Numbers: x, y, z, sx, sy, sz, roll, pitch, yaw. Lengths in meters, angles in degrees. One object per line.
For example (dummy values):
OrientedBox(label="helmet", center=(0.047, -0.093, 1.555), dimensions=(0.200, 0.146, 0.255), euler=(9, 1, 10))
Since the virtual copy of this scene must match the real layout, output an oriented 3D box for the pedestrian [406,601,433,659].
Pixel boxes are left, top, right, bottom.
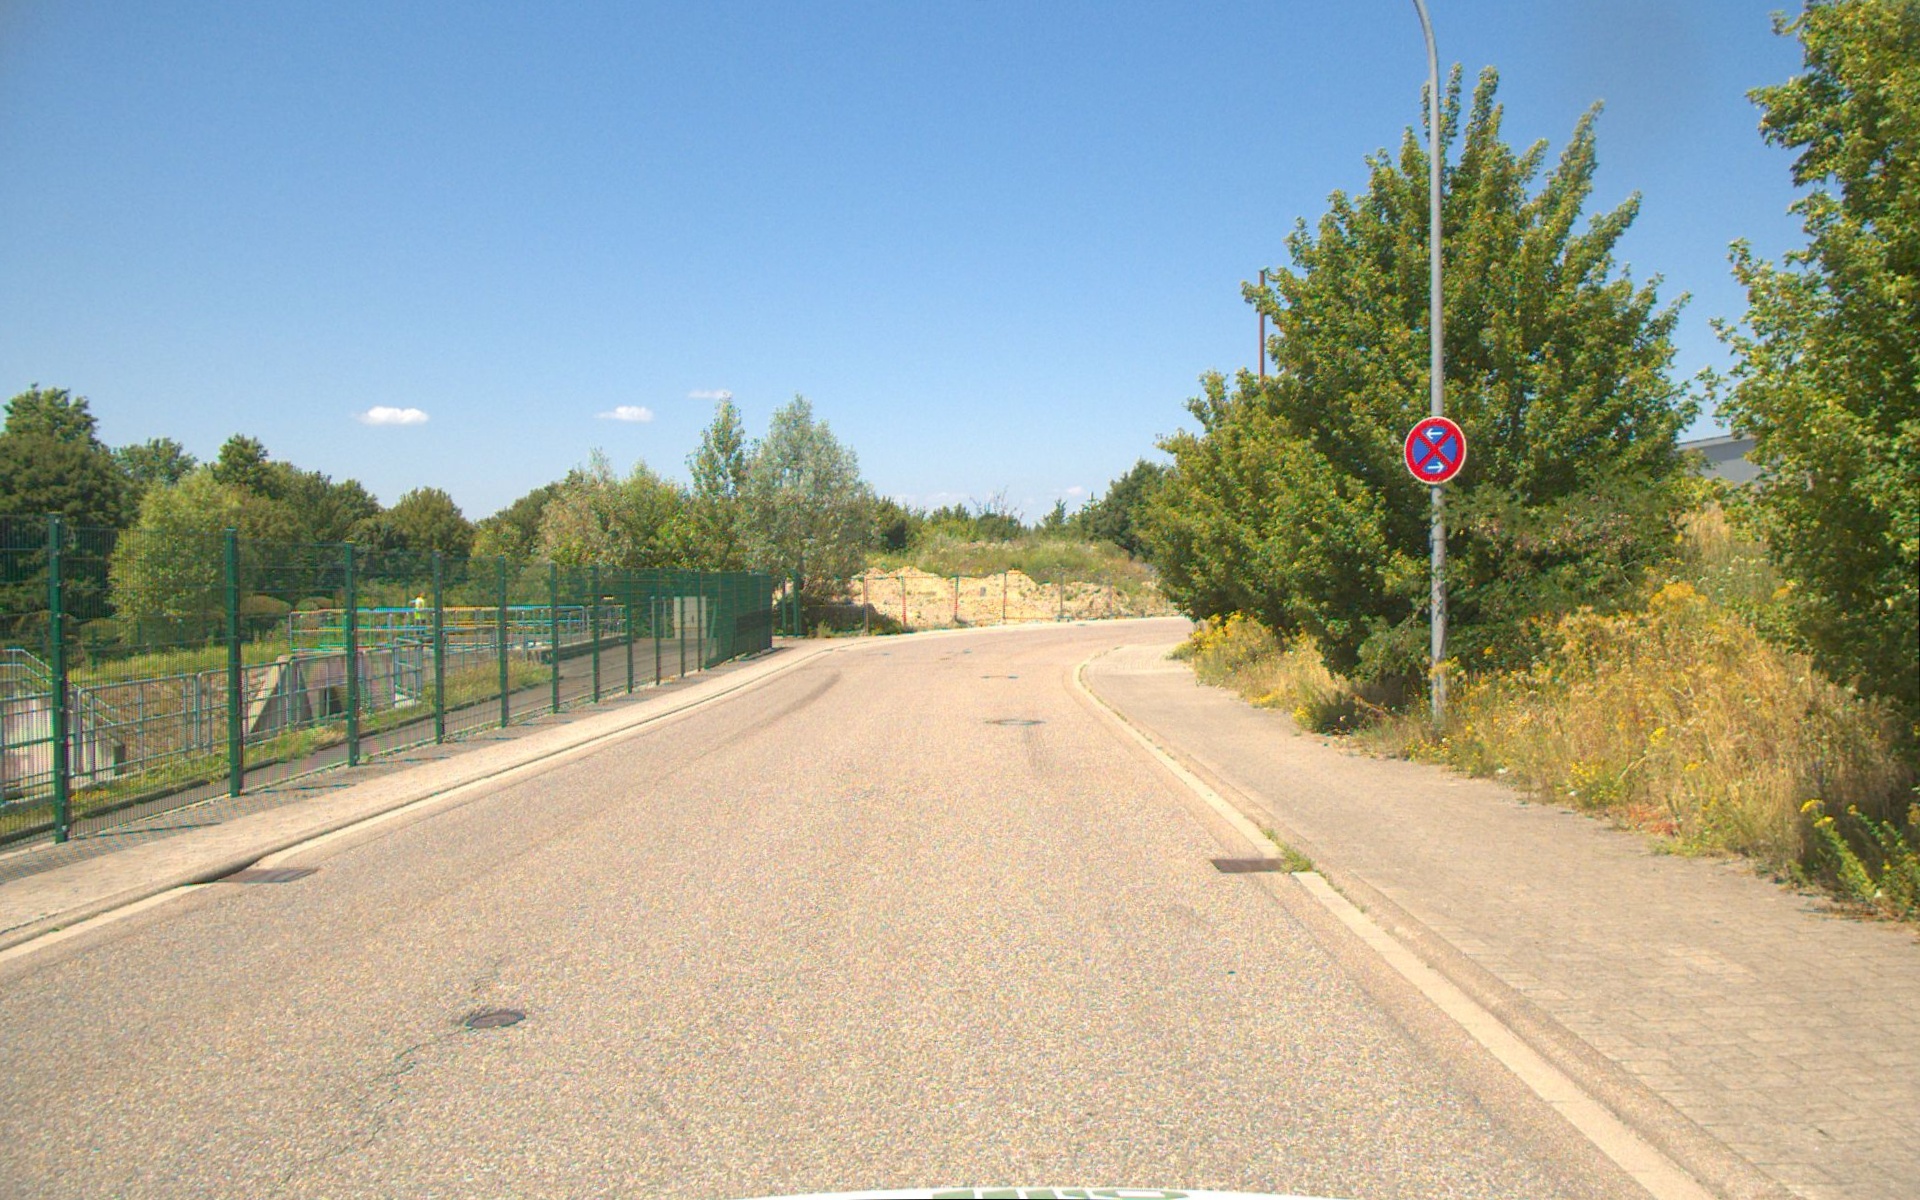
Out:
OrientedBox(label="pedestrian", center=(-17.862, 0.986, 54.675), dimensions=(0.593, 1.871, 0.805), euler=(-2, 1, -1))
